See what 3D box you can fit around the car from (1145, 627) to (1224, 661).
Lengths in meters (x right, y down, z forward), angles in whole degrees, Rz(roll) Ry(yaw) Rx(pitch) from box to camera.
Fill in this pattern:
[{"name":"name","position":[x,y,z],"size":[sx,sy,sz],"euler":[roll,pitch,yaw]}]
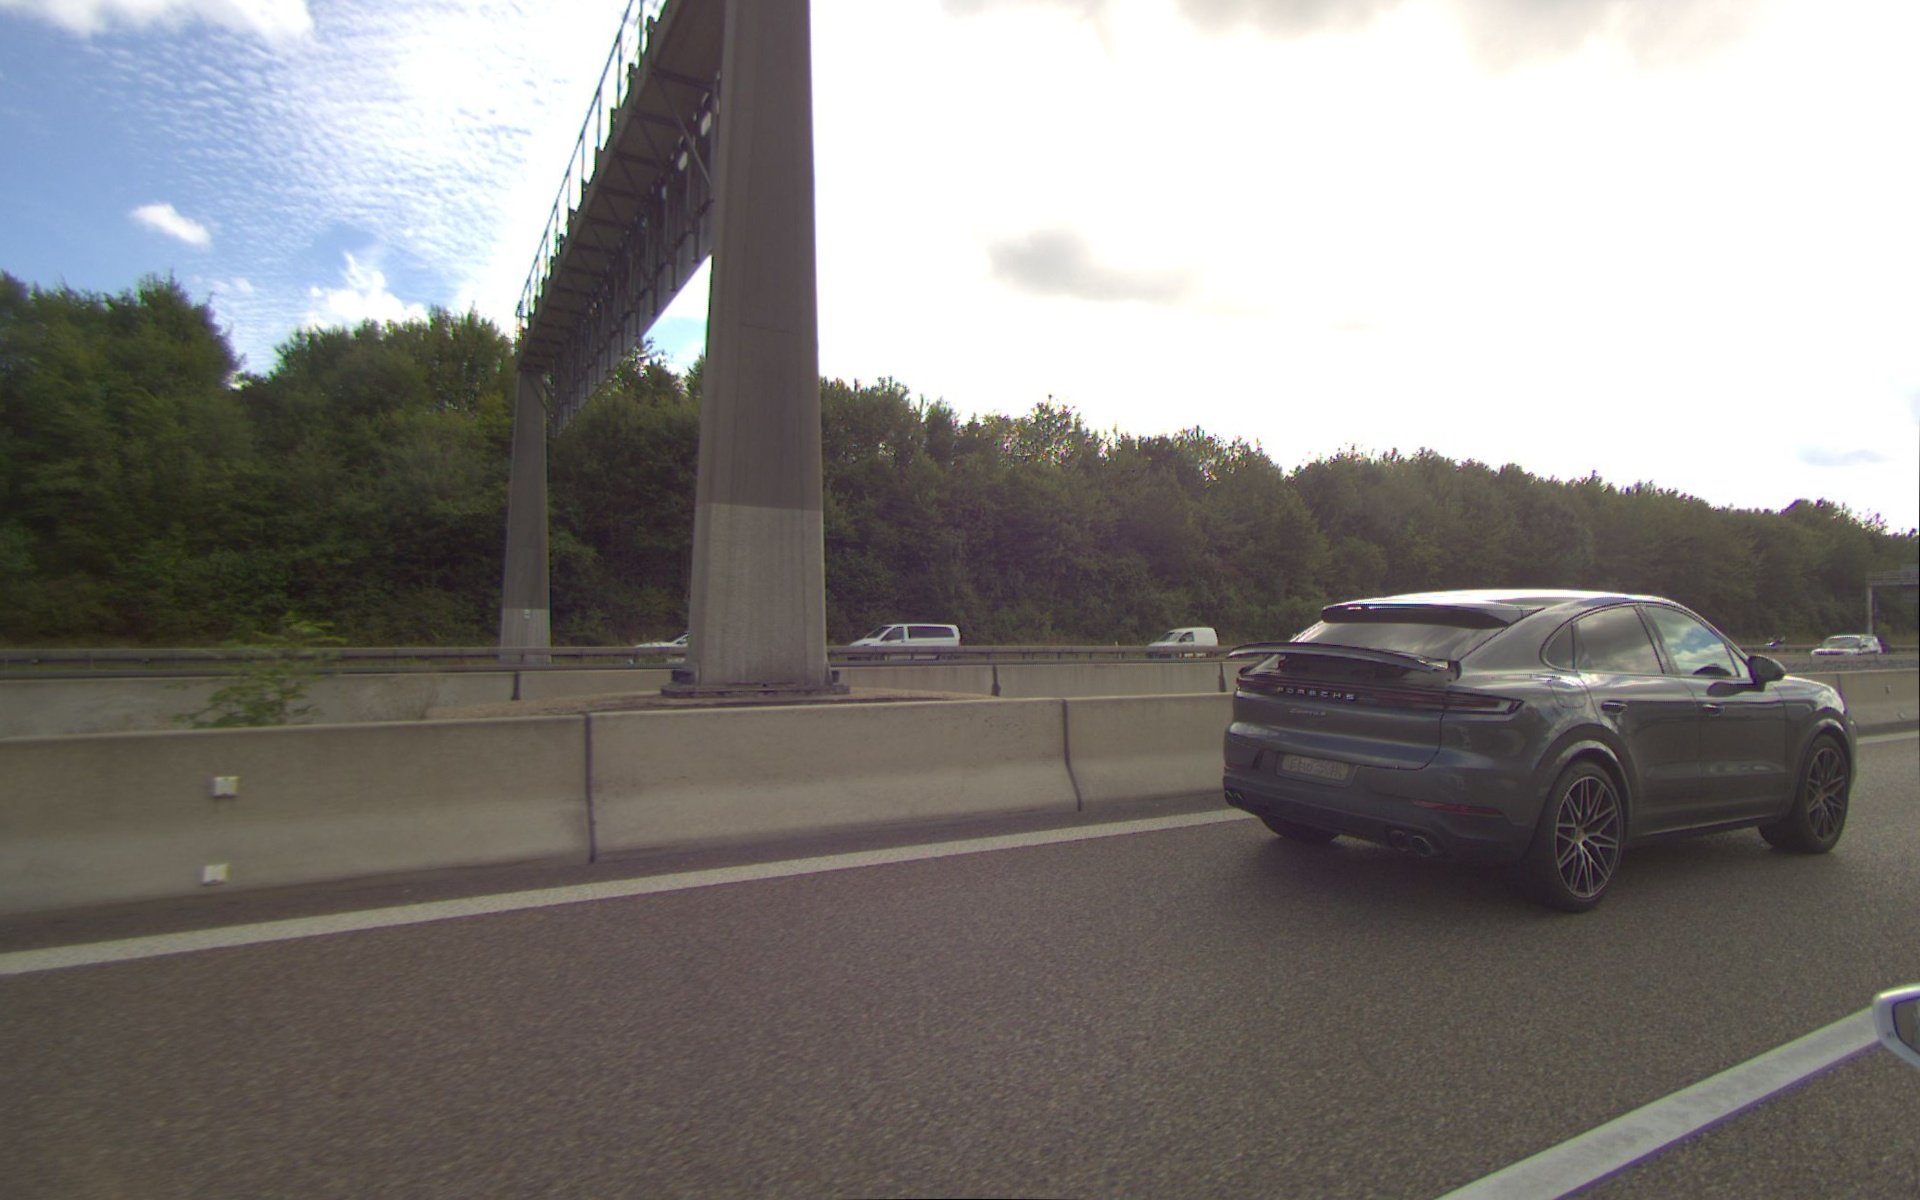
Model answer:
[{"name":"car","position":[12.161,2.364,54.345],"size":[4.233,1.781,1.584],"euler":[1,-2,-31]}]

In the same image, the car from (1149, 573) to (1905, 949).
[{"name":"car","position":[3.962,0.770,6.648],"size":[5.436,1.658,1.903],"euler":[1,-1,-30]}]

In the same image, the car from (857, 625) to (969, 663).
[{"name":"car","position":[-2.101,1.967,45.782],"size":[4.890,1.655,1.726],"euler":[1,-2,-31]}]

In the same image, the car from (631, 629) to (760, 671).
[{"name":"car","position":[-9.623,1.798,36.681],"size":[4.274,1.463,1.650],"euler":[1,-2,-31]}]

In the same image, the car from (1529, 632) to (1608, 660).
[{"name":"car","position":[36.197,2.715,59.737],"size":[4.710,1.613,1.985],"euler":[1,-2,-29]}]

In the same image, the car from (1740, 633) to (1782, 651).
[{"name":"car","position":[71.109,3.737,89.134],"size":[4.133,1.514,1.584],"euler":[1,-2,-31]}]

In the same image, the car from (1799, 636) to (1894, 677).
[{"name":"car","position":[42.322,2.656,47.908],"size":[5.440,1.809,1.825],"euler":[1,-2,-31]}]
